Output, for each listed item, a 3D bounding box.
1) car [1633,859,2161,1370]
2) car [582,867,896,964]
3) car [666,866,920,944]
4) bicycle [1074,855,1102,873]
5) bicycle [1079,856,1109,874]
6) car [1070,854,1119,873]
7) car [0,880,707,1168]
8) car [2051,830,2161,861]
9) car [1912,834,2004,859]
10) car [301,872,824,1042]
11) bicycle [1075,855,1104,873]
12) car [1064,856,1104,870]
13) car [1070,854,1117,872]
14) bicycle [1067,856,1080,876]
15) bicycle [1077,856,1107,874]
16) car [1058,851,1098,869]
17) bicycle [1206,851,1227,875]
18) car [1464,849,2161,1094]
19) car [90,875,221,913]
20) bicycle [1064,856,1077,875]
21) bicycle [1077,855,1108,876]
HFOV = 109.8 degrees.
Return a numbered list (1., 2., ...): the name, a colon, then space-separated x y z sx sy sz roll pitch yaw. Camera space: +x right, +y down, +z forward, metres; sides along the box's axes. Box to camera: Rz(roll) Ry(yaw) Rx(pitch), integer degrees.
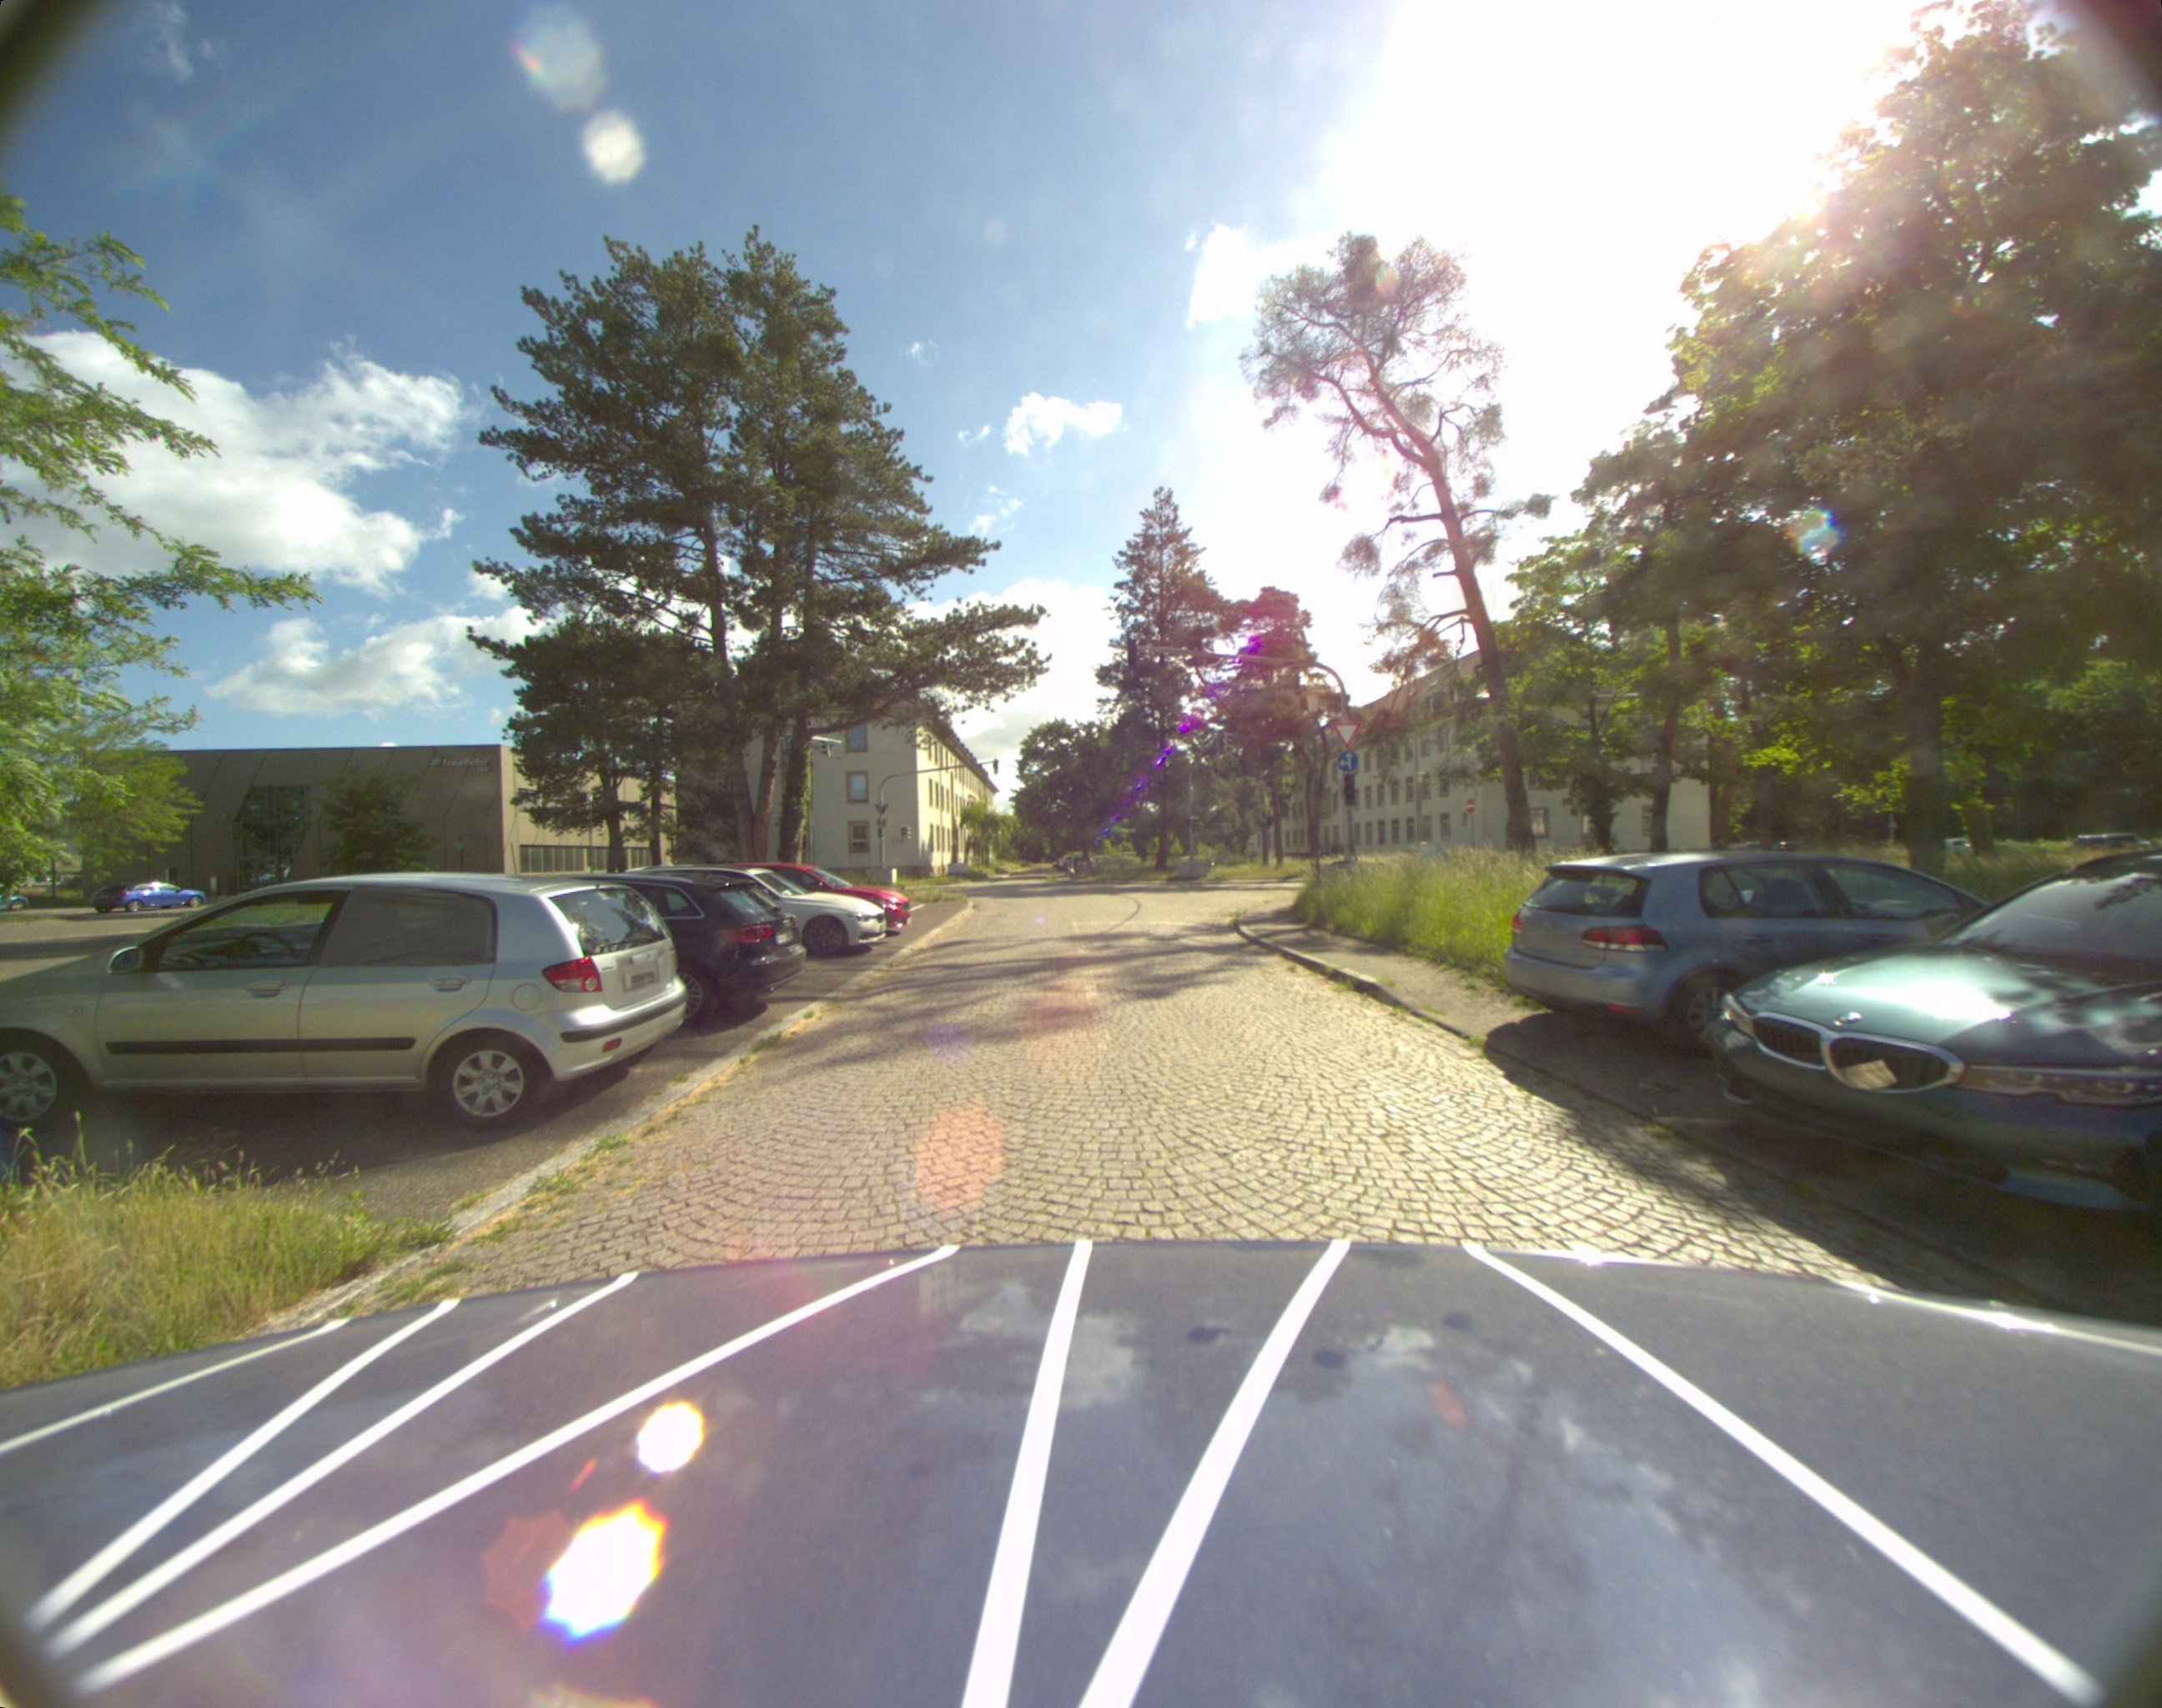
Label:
1. car: 5.577 0.819 3.602 4.594 1.443 1.983 -3 1 -5
2. car: -5.621 1.005 12.999 4.526 1.456 1.838 1 1 -4
3. car: -5.814 1.019 15.808 4.549 1.413 1.894 1 1 -3
4. bicycle: 0.584 0.816 60.551 2.114 1.276 0.621 -3 1 -6
5. bicycle: 0.984 0.815 57.143 2.115 1.276 0.621 -3 1 -8
6. car: 1.141 0.816 66.729 4.045 1.493 1.816 -1 1 -10
7. car: -4.806 0.985 5.043 3.751 1.468 1.751 1 1 -3
8. car: 57.128 -0.480 42.235 4.056 1.620 1.840 -1 0 0
9. car: 57.474 -0.478 49.842 4.105 1.571 1.720 -1 1 0
10. car: -4.959 0.965 7.784 4.015 1.432 1.843 1 0 -3
11. bicycle: 0.671 0.813 59.710 2.114 1.276 0.621 -3 1 -6
12. car: 0.257 0.931 81.468 4.045 1.355 1.816 -1 1 -8
13. car: 1.093 0.825 69.753 4.045 1.514 1.816 -1 1 -10
14. bicycle: -0.527 0.801 51.503 0.621 1.342 2.113 -3 1 -6
15. bicycle: 0.843 0.823 57.967 2.114 1.276 0.621 -3 1 -7
16. car: -0.355 0.648 87.068 4.227 1.903 1.816 -1 1 -11
17. bicycle: 7.564 0.489 42.514 0.621 1.276 2.114 -4 0 -3
18. car: 5.670 0.800 6.225 4.038 1.474 1.948 -3 0 -3
19. car: -48.857 2.068 40.258 1.860 1.555 4.058 -1 3 1
20. bicycle: -0.748 0.814 53.672 0.621 1.276 2.113 -3 1 -6
21. bicycle: 0.820 0.801 54.886 2.114 1.276 0.621 -7 1 -4
